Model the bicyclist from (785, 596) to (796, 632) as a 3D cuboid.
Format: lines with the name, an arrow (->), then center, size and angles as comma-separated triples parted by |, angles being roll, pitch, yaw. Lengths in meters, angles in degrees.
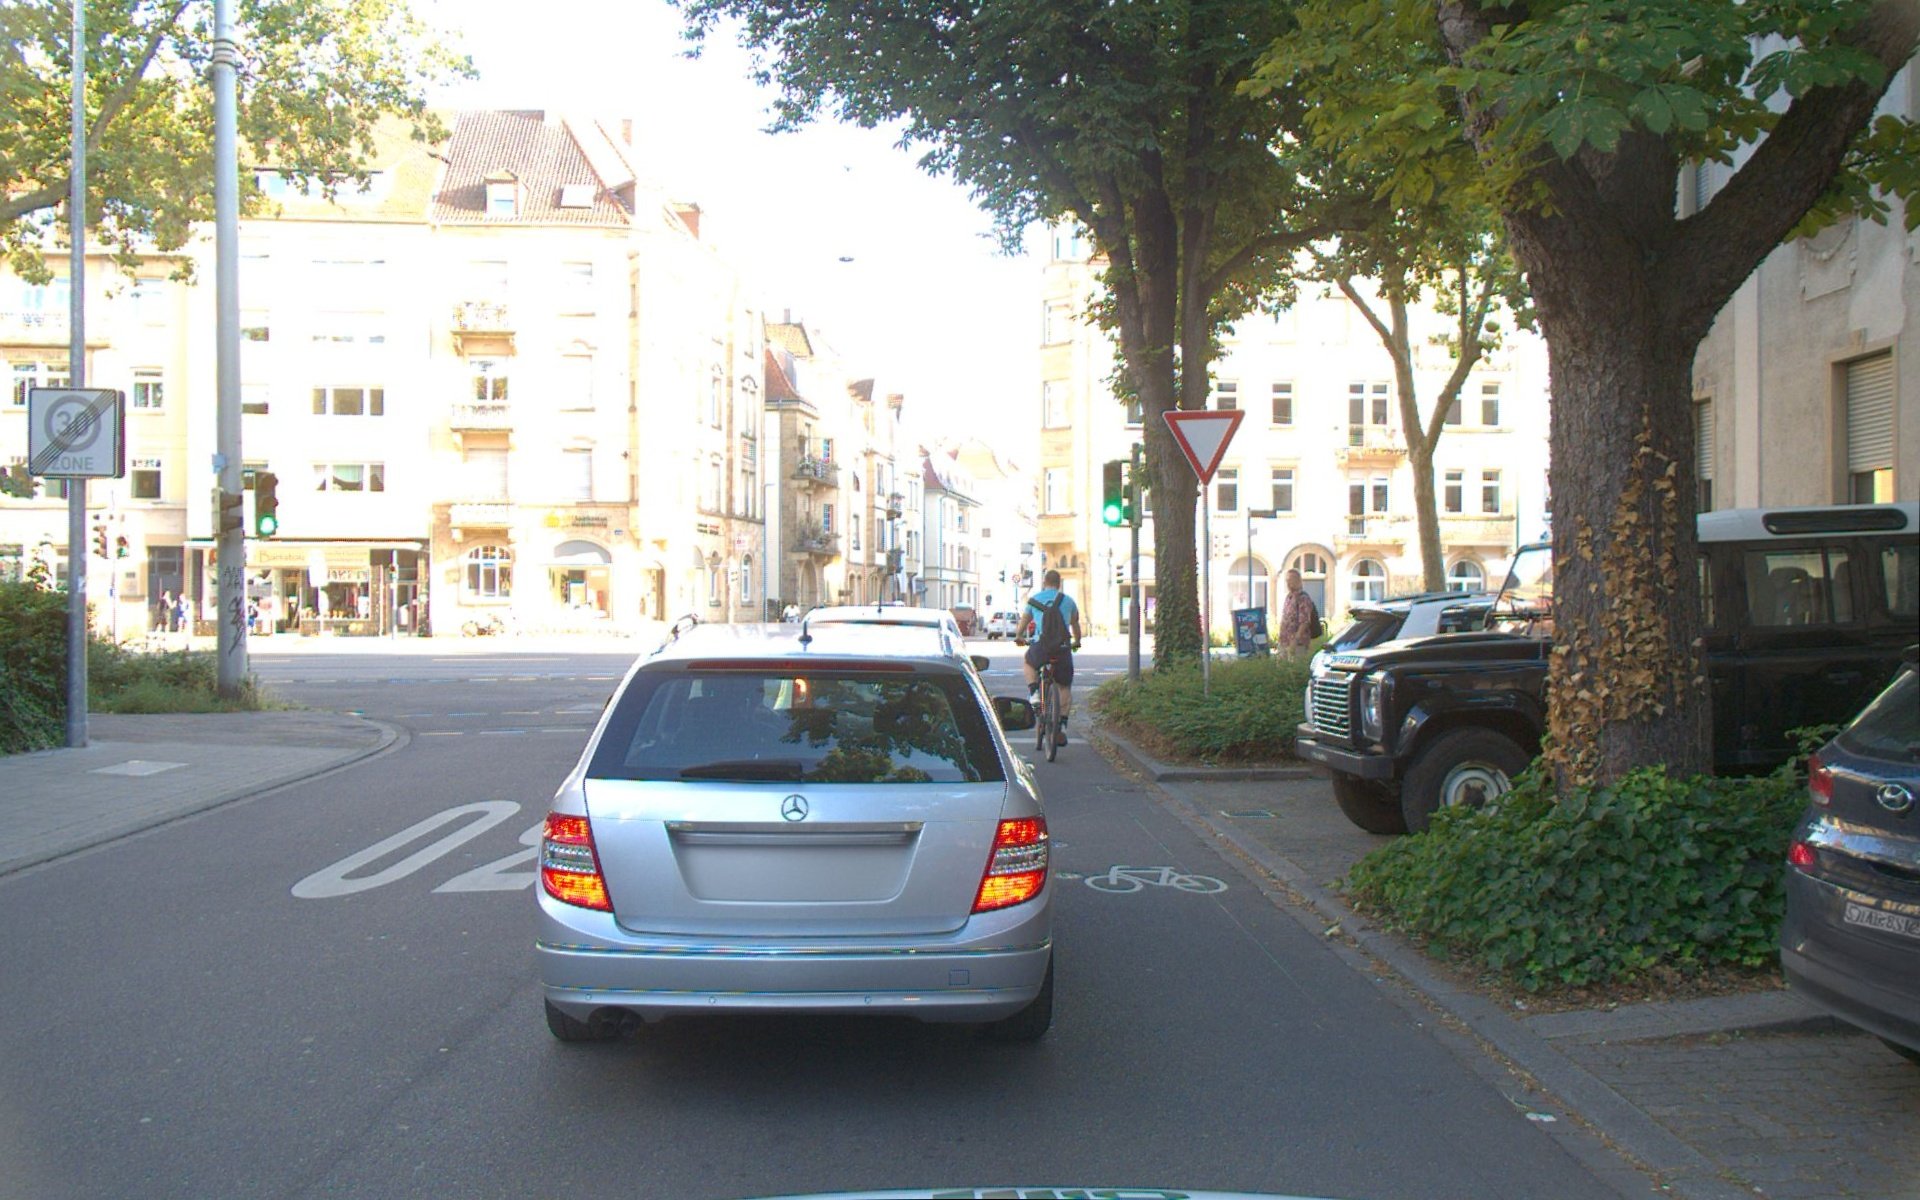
bicyclist -> -7.425, 0.609, 72.649 | 0.457, 1.541, 0.655 | 0, 0, -4

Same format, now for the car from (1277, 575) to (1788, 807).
car -> 4.439, 0.660, 13.105 | 3.415, 1.614, 1.708 | -1, 0, -7

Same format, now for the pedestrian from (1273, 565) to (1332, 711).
pedestrian -> 4.436, 0.484, 21.455 | 0.619, 1.877, 0.574 | 0, 0, -5

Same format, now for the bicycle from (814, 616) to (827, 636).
bicycle -> -6.148, 1.157, 73.008 | 0.557, 0.849, 1.564 | 0, 0, -4

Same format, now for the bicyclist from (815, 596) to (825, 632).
bicyclist -> -6.180, 0.615, 73.064 | 0.457, 1.547, 0.693 | 0, 0, -4

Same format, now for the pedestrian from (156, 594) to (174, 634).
pedestrian -> -30.230, 0.527, 62.907 | 0.557, 1.537, 0.499 | 0, 0, -20

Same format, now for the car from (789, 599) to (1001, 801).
car -> -0.531, 0.718, 13.614 | 1.502, 1.415, 3.597 | 0, 0, -2

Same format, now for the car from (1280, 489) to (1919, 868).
car -> 4.394, 0.404, 10.177 | 4.402, 1.990, 1.791 | -2, 0, -4

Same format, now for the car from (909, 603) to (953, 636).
car -> -1.545, 1.029, 90.151 | 1.650, 1.753, 4.003 | 0, 0, 10

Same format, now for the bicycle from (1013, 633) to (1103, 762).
bicycle -> 0.939, 0.926, 16.340 | 0.727, 1.137, 2.013 | 1, 0, -1

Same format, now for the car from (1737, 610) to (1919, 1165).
car -> 4.334, 0.702, 4.484 | 3.675, 1.446, 1.627 | -2, -1, -4

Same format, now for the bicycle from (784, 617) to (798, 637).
bicycle -> -7.423, 1.159, 72.542 | 0.557, 0.849, 1.564 | 0, 0, -4

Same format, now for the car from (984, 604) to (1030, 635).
car -> 2.463, 0.992, 85.818 | 1.684, 1.504, 4.004 | -2, 0, 11

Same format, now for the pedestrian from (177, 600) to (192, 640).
pedestrian -> -29.645, 0.751, 63.201 | 0.502, 1.537, 0.532 | 0, 0, -24

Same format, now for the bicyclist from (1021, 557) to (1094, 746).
bicyclist -> 0.956, 0.501, 16.313 | 0.633, 1.806, 0.830 | 1, -1, -1

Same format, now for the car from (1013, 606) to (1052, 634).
car -> 4.496, 1.225, 102.060 | 1.684, 1.503, 4.004 | -4, 0, 11

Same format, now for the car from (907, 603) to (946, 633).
car -> -2.057, 1.139, 102.585 | 1.615, 1.814, 3.866 | 0, -1, 10

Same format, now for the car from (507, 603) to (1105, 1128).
car -> -0.524, 0.759, 6.413 | 1.657, 1.454, 3.490 | 1, 0, -3

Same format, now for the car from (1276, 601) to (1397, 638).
car -> 11.286, 0.582, 49.650 | 3.296, 1.087, 1.380 | 0, 0, -2

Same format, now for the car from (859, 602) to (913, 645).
car -> -3.531, 1.123, 79.624 | 1.896, 1.993, 4.153 | 0, 0, 7
